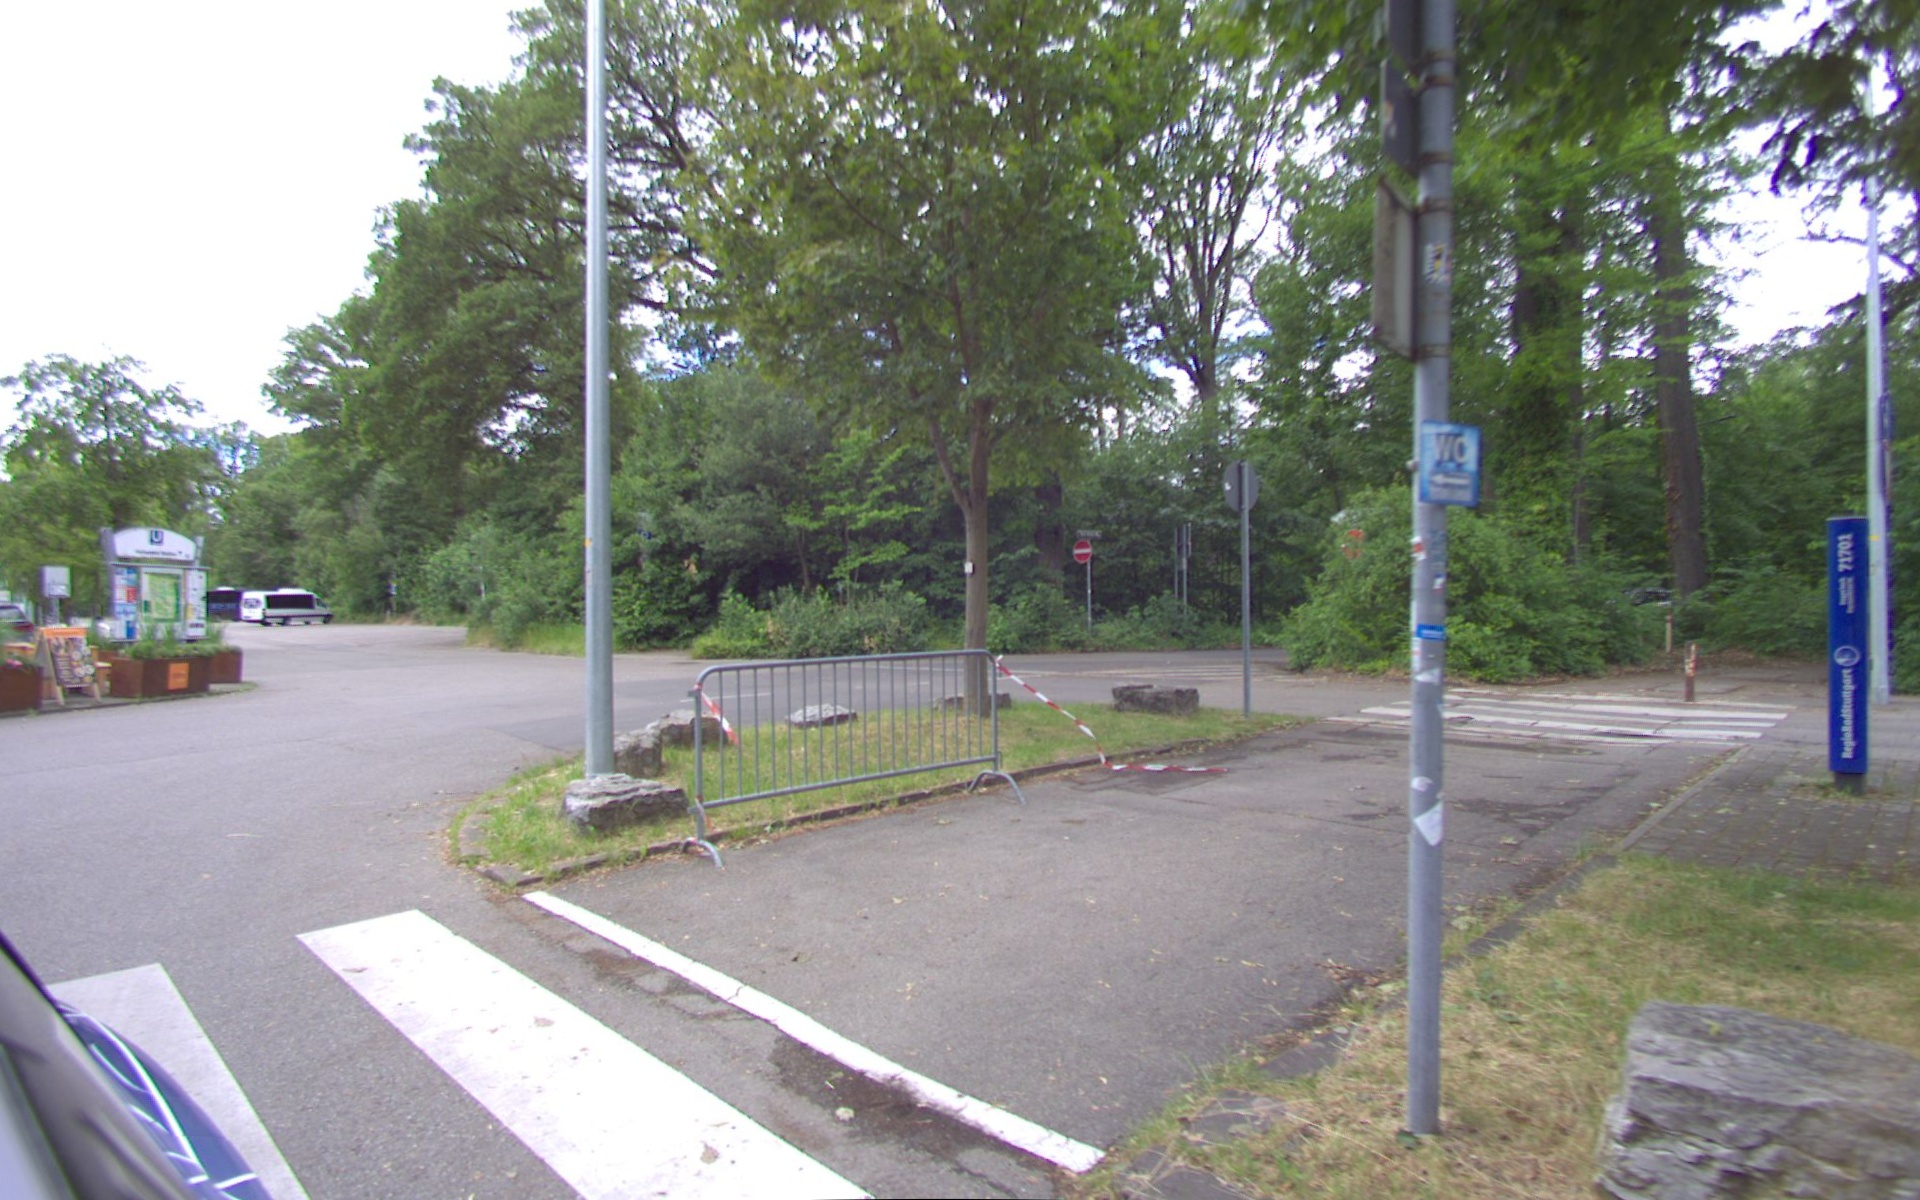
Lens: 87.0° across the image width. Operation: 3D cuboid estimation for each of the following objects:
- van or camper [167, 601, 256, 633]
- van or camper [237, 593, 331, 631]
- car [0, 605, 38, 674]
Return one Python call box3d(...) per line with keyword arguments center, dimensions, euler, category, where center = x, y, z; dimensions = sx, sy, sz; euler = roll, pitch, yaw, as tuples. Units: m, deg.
box3d(center=(-71.066, 1.569, 96.301), dimensions=(2.180, 2.871, 7.316), euler=(-1, 0, 10), category="van or camper")
box3d(center=(-53.431, 0.879, 80.194), dimensions=(2.043, 2.871, 7.329), euler=(-1, 0, 5), category="van or camper")
box3d(center=(-25.464, 1.002, 25.647), dimensions=(4.328, 1.682, 1.916), euler=(-1, 0, 30), category="car")
